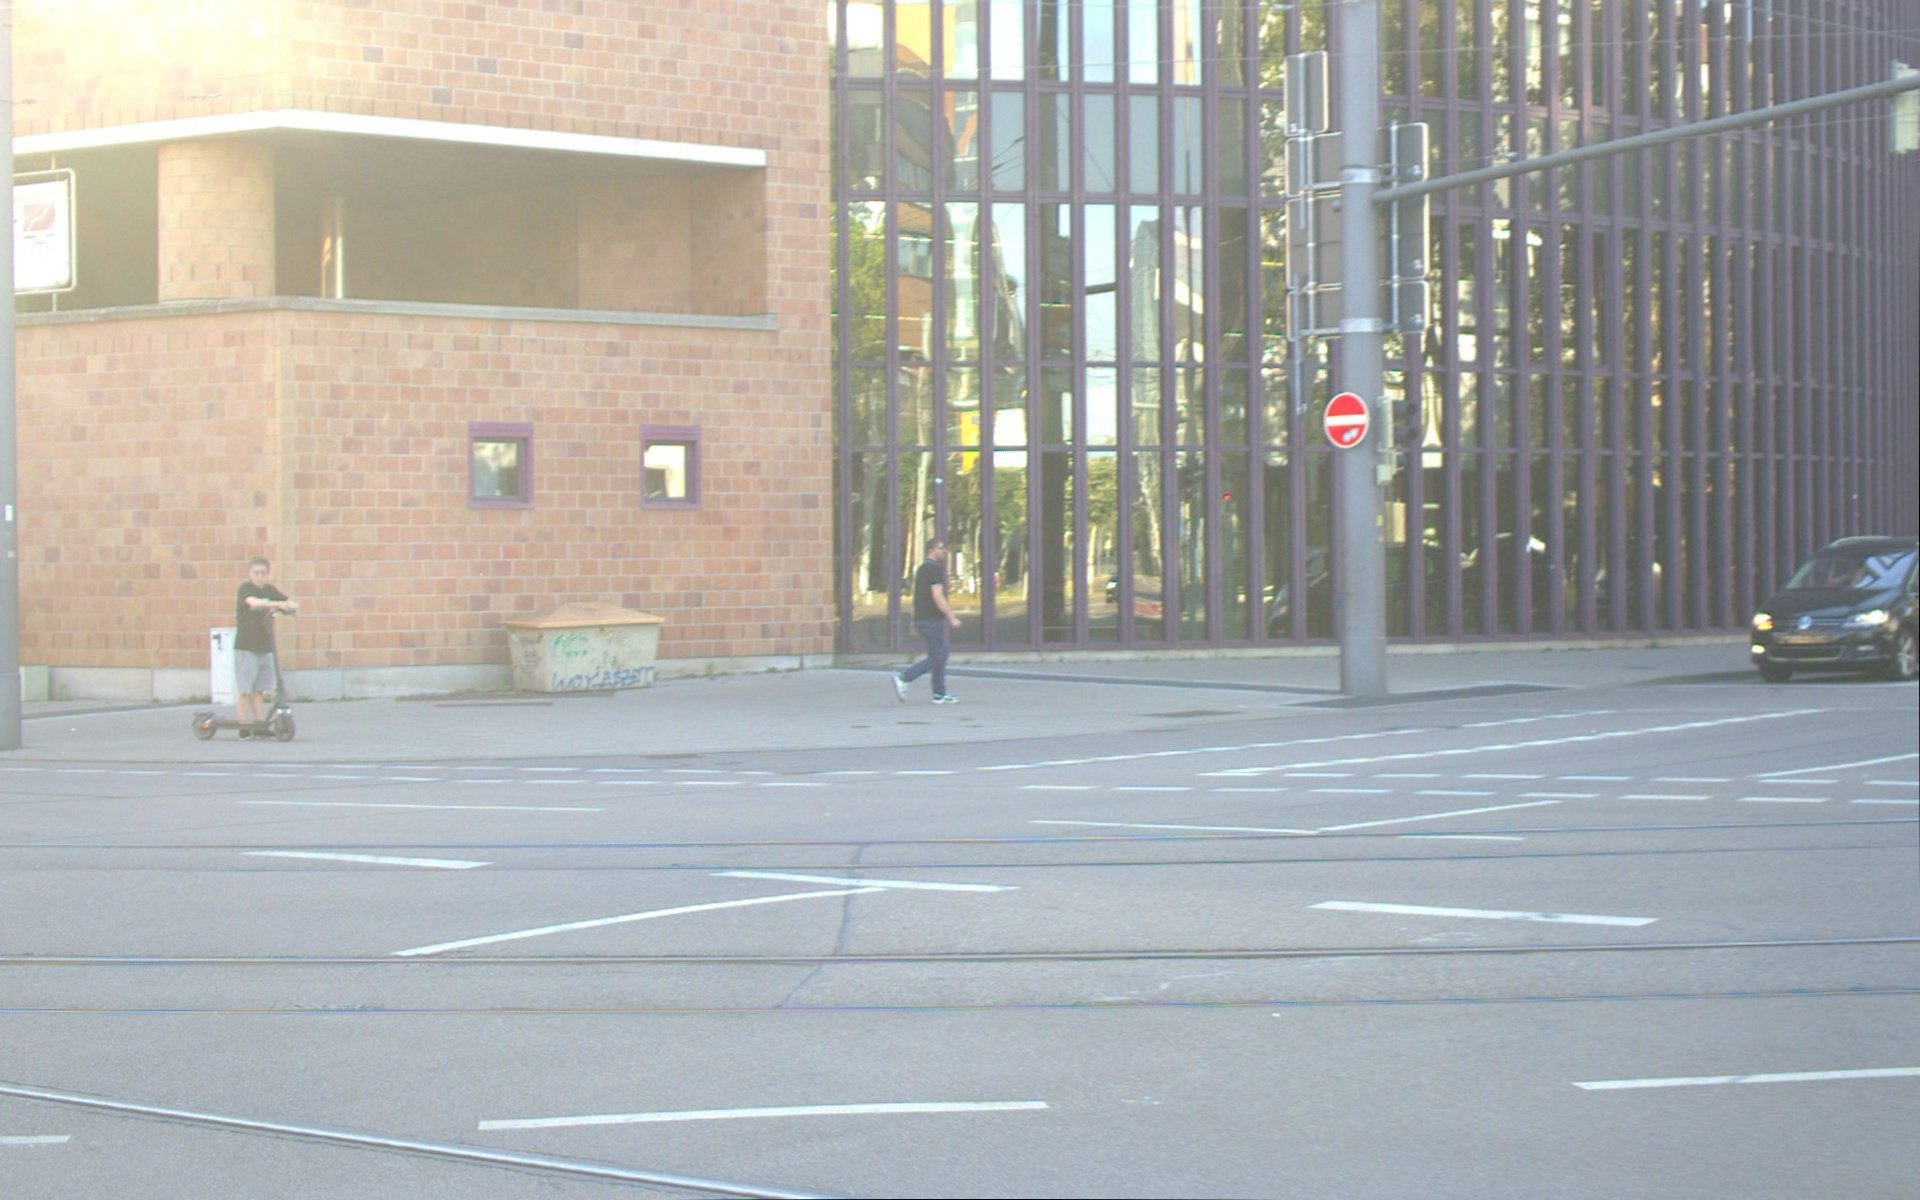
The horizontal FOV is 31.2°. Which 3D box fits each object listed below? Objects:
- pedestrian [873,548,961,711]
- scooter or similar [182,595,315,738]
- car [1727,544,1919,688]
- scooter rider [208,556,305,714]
[{"bbox_3d":[-0.460,0.304,36.621,0.821,1.710,0.664,-1,1,-10],"label":"pedestrian"},{"bbox_3d":[-6.657,0.615,32.168,1.130,1.313,0.528,0,1,29],"label":"scooter or similar"},{"bbox_3d":[11.203,0.158,41.734,1.837,1.649,4.490,-1,0,39],"label":"car"},{"bbox_3d":[-6.573,0.321,32.120,0.721,1.456,0.507,0,1,30],"label":"scooter rider"}]
